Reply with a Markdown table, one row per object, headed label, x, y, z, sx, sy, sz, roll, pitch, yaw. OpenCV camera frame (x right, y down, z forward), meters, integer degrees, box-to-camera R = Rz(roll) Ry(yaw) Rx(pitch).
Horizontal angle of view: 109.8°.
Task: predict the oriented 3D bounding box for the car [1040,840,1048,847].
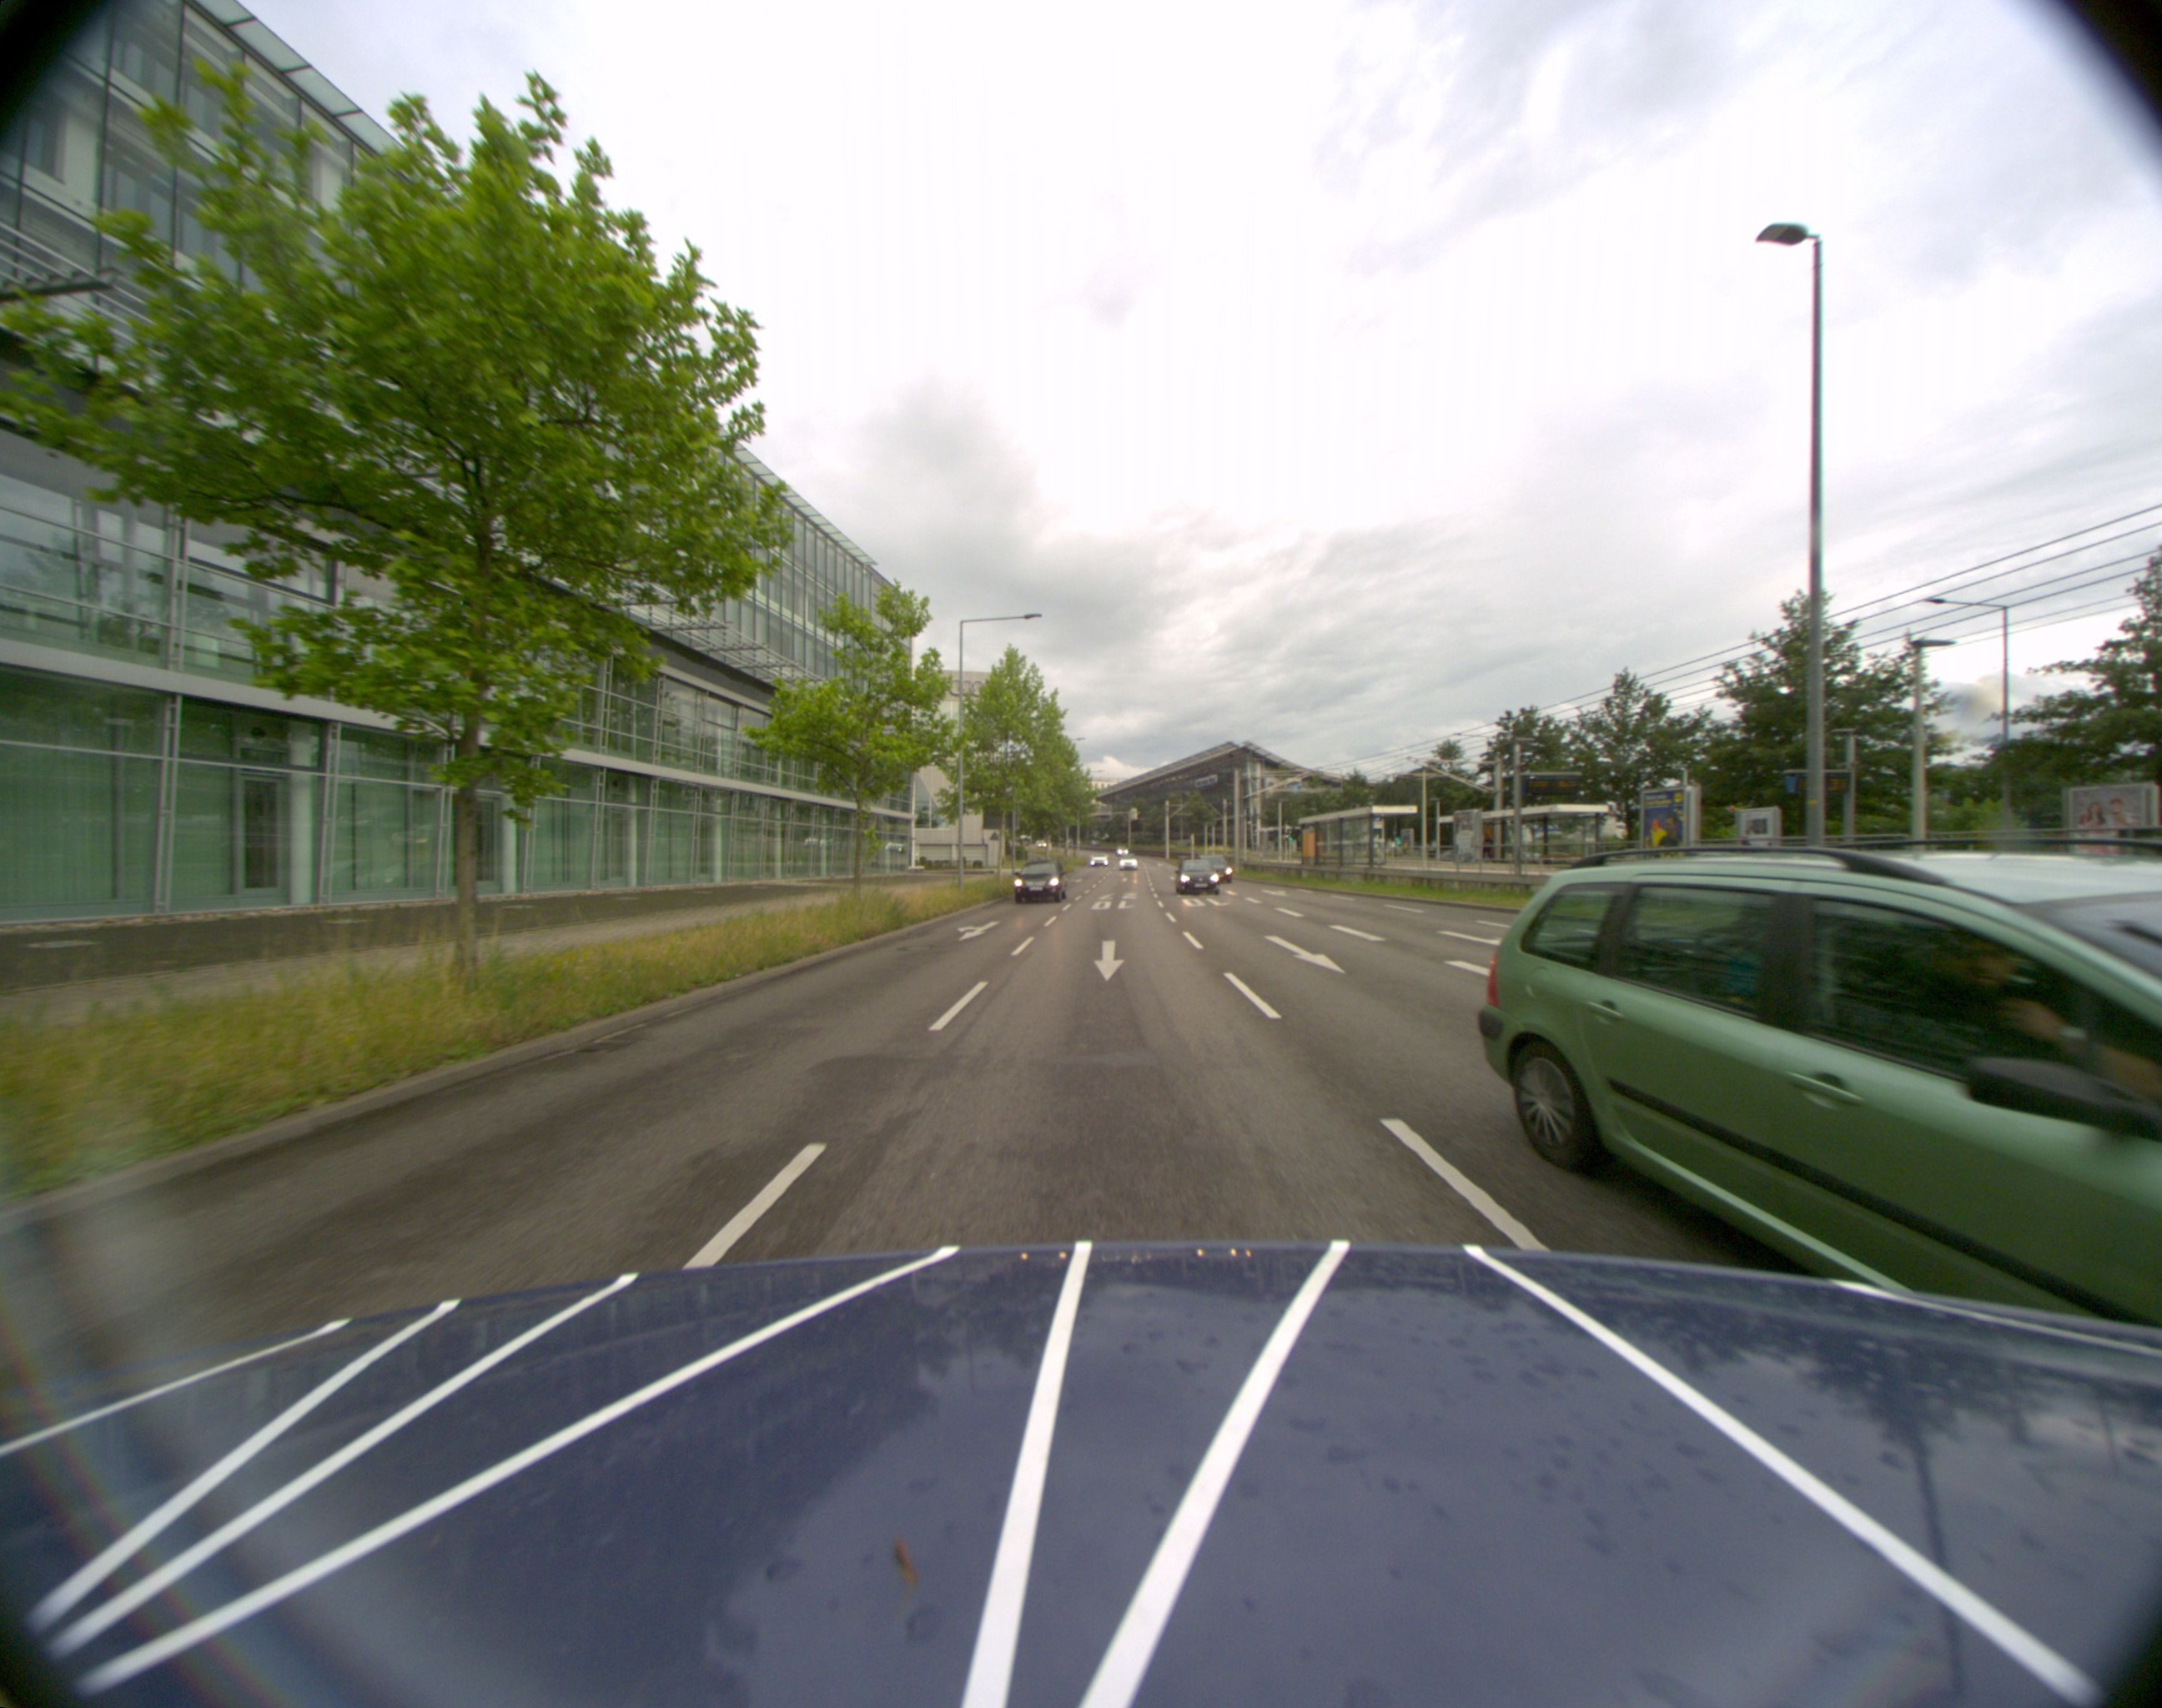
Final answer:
| label | x | y | z | sx | sy | sz | roll | pitch | yaw |
| --- | --- | --- | --- | --- | --- | --- | --- | --- | --- |
| car | -8.952 | -2.477 | 184.007 | 1.829 | 1.701 | 4.151 | -2 | 1 | -4 |

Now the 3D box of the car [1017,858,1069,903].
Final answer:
| label | x | y | z | sx | sy | sz | roll | pitch | yaw |
| --- | --- | --- | --- | --- | --- | --- | --- | --- | --- |
| car | -1.478 | 1.017 | 30.927 | 1.770 | 1.620 | 4.325 | -2 | 0 | 1 |

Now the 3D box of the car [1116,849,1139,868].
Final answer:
| label | x | y | z | sx | sy | sz | roll | pitch | yaw |
| --- | --- | --- | --- | --- | --- | --- | --- | --- | --- |
| car | 4.447 | 0.383 | 73.424 | 1.805 | 1.713 | 3.999 | -2 | 1 | -1 |

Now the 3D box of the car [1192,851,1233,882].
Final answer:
| label | x | y | z | sx | sy | sz | roll | pitch | yaw |
| --- | --- | --- | --- | --- | --- | --- | --- | --- | --- |
| car | 7.660 | 0.683 | 44.477 | 1.731 | 1.583 | 4.192 | -2 | 1 | 2 |

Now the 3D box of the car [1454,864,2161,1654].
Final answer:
| label | x | y | z | sx | sy | sz | roll | pitch | yaw |
| --- | --- | --- | --- | --- | --- | --- | --- | --- | --- |
| car | 2.996 | 0.848 | 2.081 | 1.699 | 1.460 | 4.402 | -2 | 1 | -1 |

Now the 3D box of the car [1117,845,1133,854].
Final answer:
| label | x | y | z | sx | sy | sz | roll | pitch | yaw |
| --- | --- | --- | --- | --- | --- | --- | --- | --- | --- |
| car | 7.029 | -0.716 | 121.542 | 1.741 | 1.469 | 3.997 | -2 | 0 | -9 |

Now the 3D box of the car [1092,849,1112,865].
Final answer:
| label | x | y | z | sx | sy | sz | roll | pitch | yaw |
| --- | --- | --- | --- | --- | --- | --- | --- | --- | --- |
| car | 2.362 | 0.306 | 86.113 | 1.999 | 1.669 | 3.821 | -1 | 1 | -1 |

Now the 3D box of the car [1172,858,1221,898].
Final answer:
| label | x | y | z | sx | sy | sz | roll | pitch | yaw |
| --- | --- | --- | --- | --- | --- | --- | --- | --- | --- |
| car | 5.007 | 0.985 | 33.328 | 1.697 | 1.514 | 3.905 | -2 | 1 | 3 |
